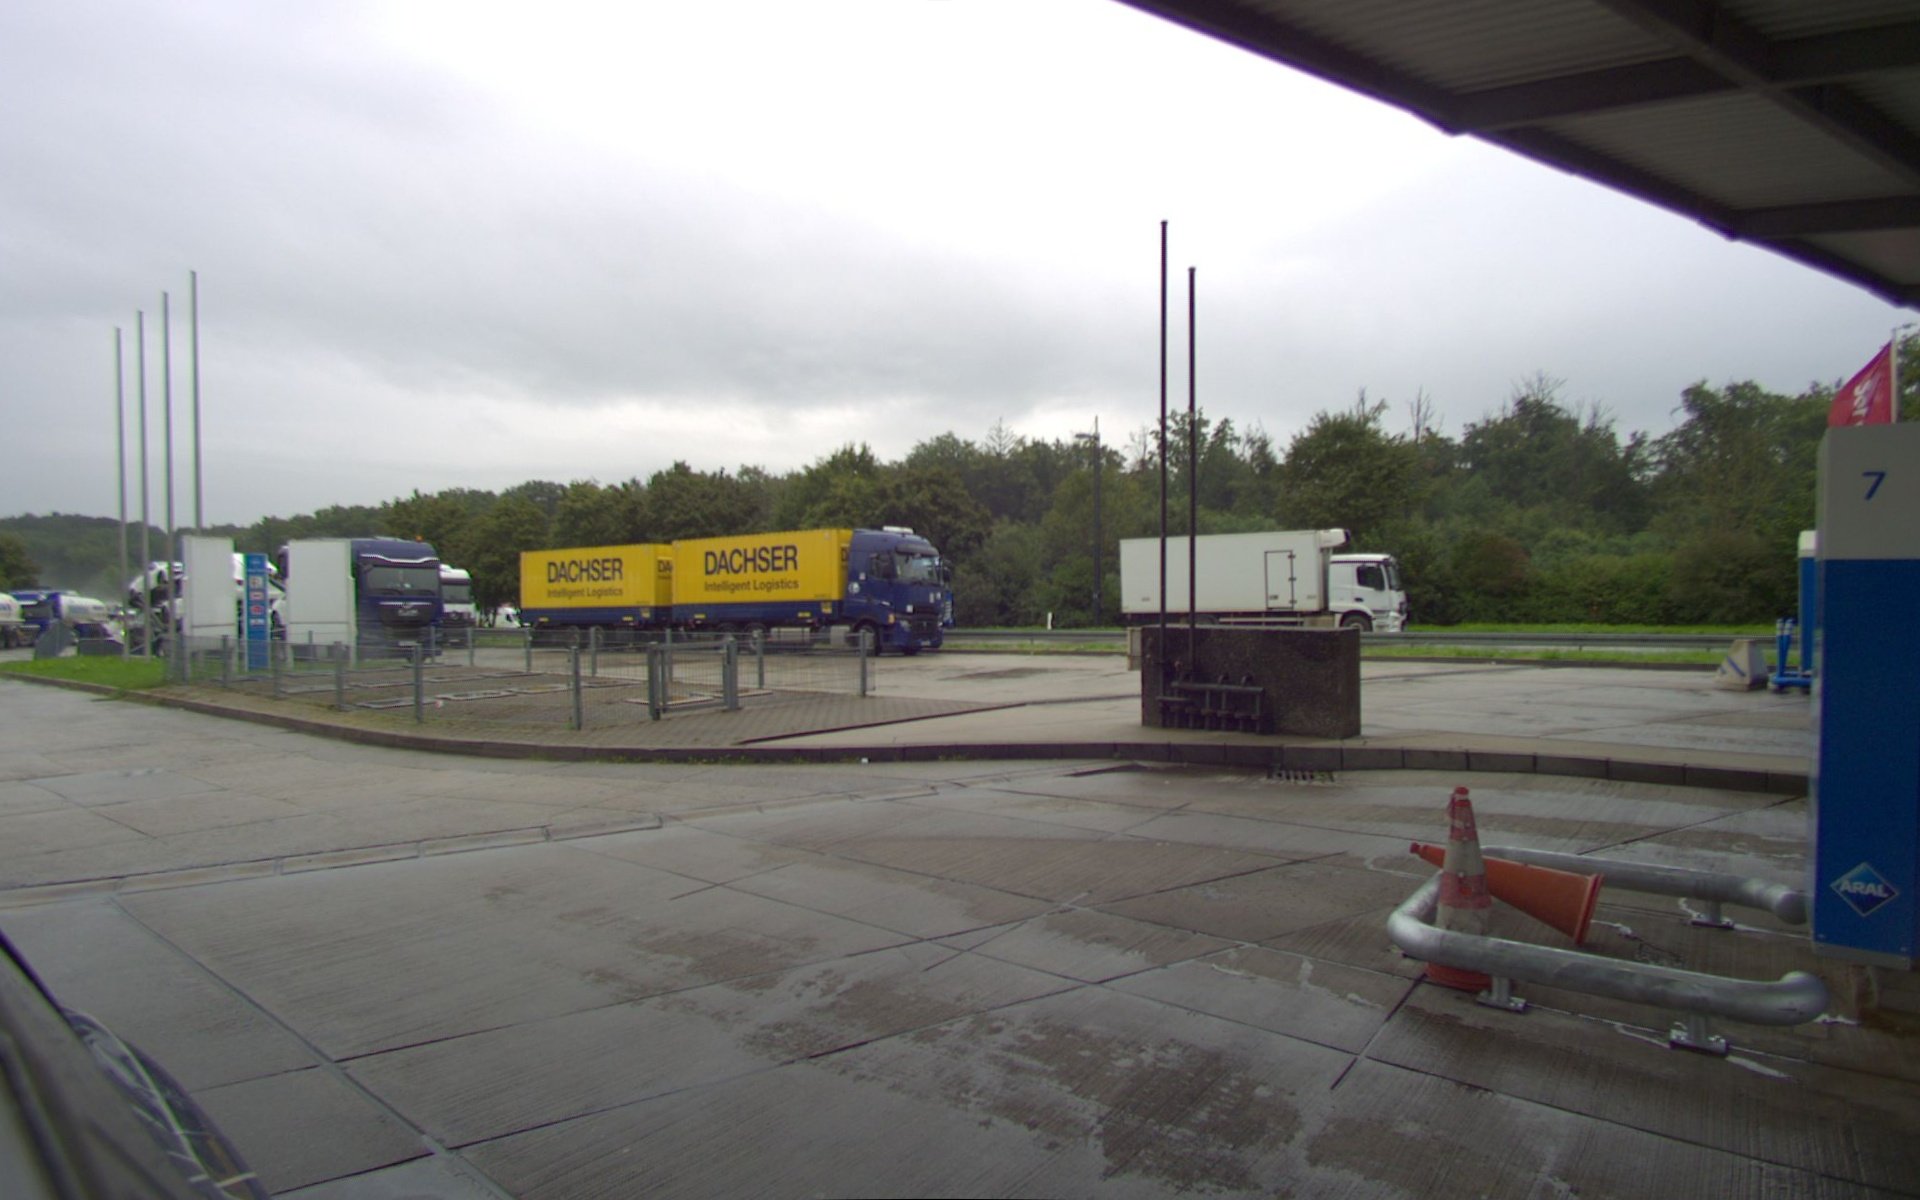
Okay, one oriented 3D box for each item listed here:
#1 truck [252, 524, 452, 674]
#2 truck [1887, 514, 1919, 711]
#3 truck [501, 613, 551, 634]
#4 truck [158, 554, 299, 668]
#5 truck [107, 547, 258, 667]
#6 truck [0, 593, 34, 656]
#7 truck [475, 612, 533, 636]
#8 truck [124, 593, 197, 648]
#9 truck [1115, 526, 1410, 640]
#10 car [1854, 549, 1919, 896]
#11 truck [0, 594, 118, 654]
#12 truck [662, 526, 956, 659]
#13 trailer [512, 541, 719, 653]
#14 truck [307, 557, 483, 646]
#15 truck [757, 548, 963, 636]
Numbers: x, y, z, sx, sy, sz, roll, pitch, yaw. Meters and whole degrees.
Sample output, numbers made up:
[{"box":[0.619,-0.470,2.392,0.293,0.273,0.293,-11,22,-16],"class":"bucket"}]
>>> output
[{"box":[-19.006,0.013,31.483,7.089,4.213,2.635,-1,0,35],"class":"truck"},{"box":[14.996,0.123,11.961,5.859,2.513,2.208,-1,0,41],"class":"truck"},{"box":[-42.763,2.307,99.707,4.913,2.029,1.980,-1,0,29],"class":"truck"},{"box":[-26.104,0.398,36.079,4.738,3.800,2.635,-1,0,34],"class":"truck"},{"box":[-29.586,0.302,38.452,6.605,4.213,2.635,-1,0,35],"class":"truck"},{"box":[-55.153,1.344,53.693,3.454,3.633,14.444,-1,-1,-19],"class":"truck"},{"box":[-43.096,2.242,95.652,5.810,2.140,2.061,-1,0,31],"class":"truck"},{"box":[-64.434,1.582,81.435,11.525,4.160,3.101,-1,0,44],"class":"truck"},{"box":[10.972,-0.518,37.455,10.195,3.836,2.395,-1,0,31],"class":"truck"},{"box":[6.914,0.541,3.806,5.269,1.620,1.842,-1,0,41],"class":"car"},{"box":[-61.492,1.629,68.660,3.454,3.633,14.709,-1,-1,-27],"class":"truck"},{"box":[-5.334,-0.177,34.035,10.654,3.946,2.727,-1,0,33],"class":"truck"},{"box":[-13.496,-0.072,39.264,8.679,3.946,2.728,-1,0,32],"class":"trailer"},{"box":[-27.316,0.107,48.633,10.654,3.946,2.727,-1,0,33],"class":"truck"},{"box":[-4.876,-0.312,47.650,10.195,3.836,2.395,-1,0,31],"class":"truck"}]
